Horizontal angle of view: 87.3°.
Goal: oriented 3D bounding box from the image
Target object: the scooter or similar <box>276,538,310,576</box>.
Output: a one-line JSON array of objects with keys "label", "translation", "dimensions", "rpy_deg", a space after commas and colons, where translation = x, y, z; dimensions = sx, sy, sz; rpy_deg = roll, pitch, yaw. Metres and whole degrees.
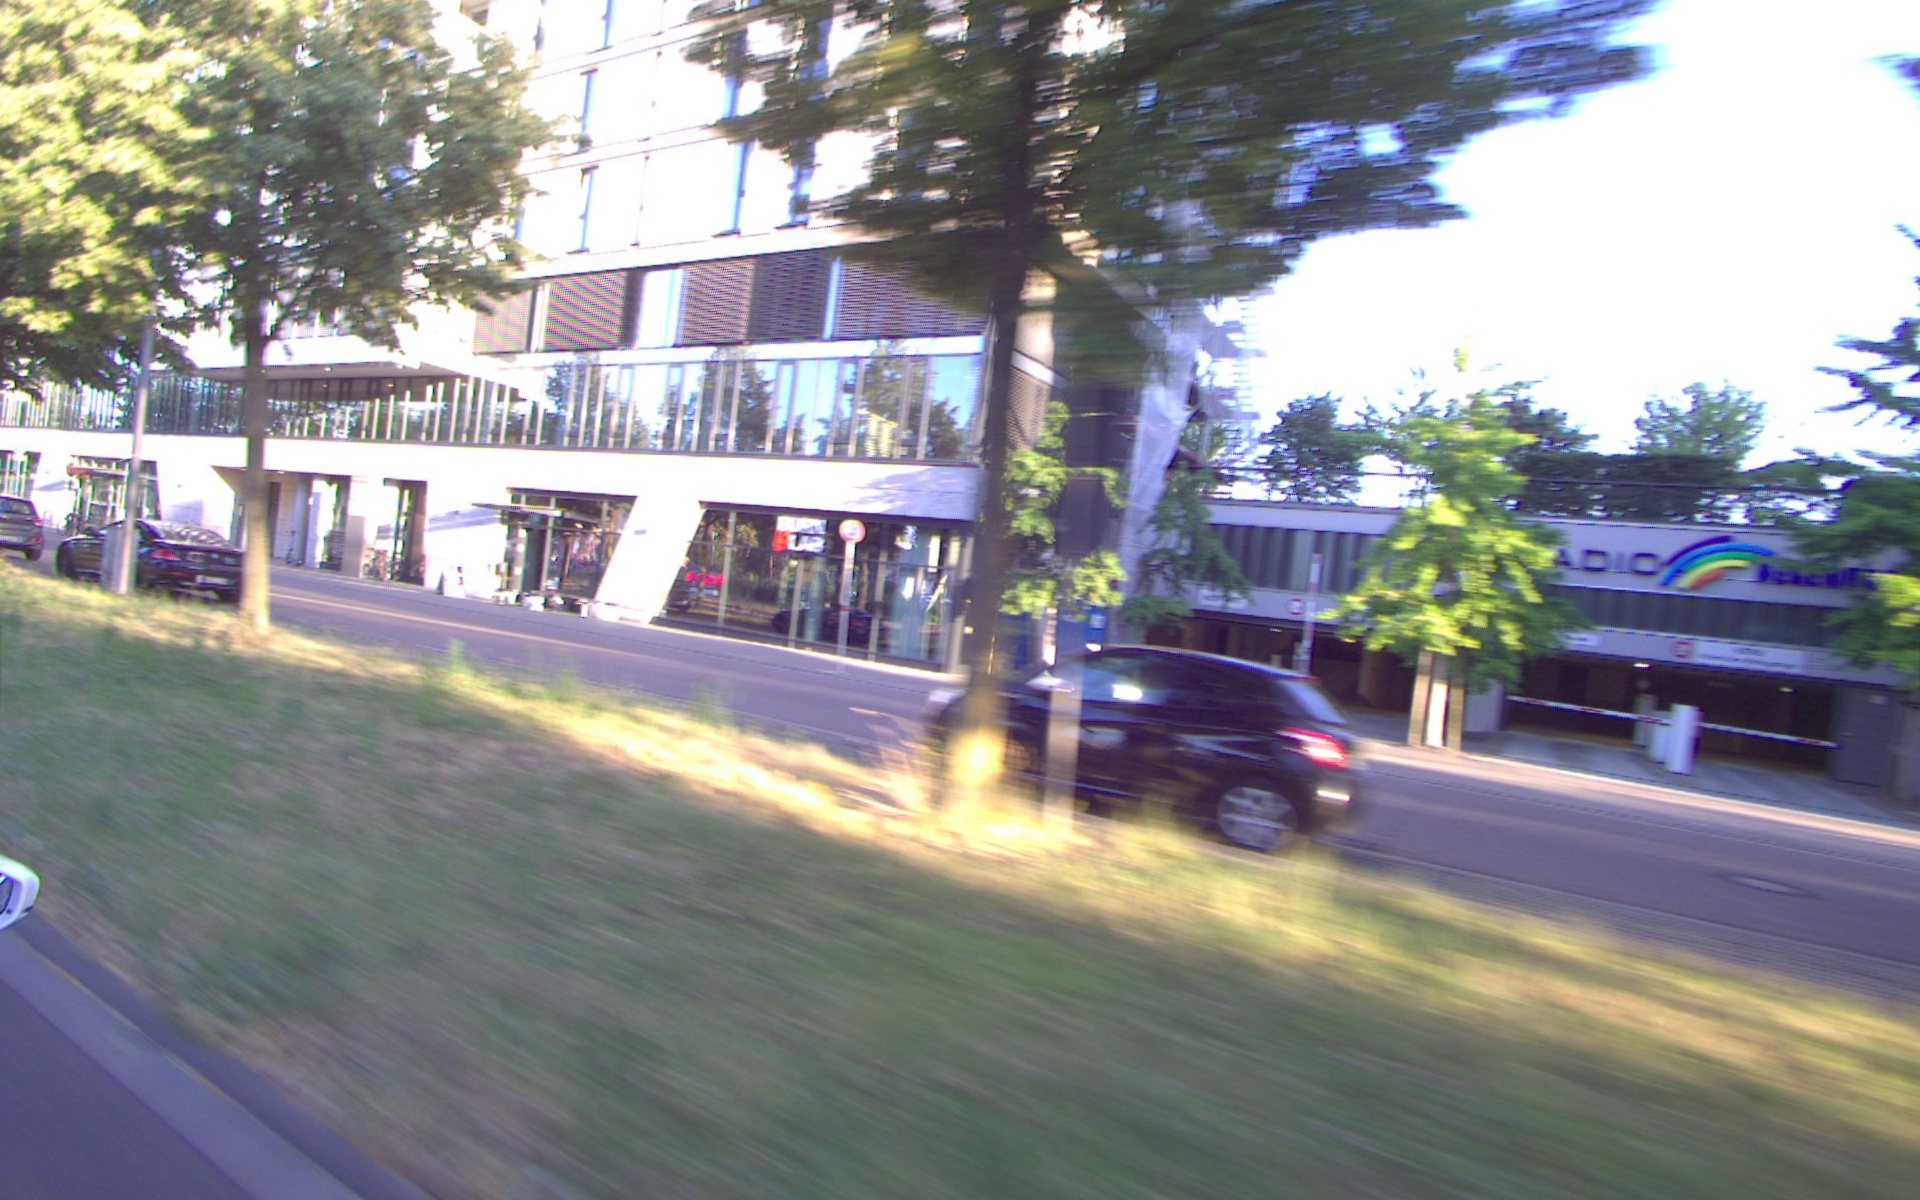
[{"label": "scooter or similar", "translation": [-23.990, -1.552, 36.192], "dimensions": [1.208, 1.226, 0.473], "rpy_deg": [6, 0, 33]}]

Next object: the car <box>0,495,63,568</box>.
[{"label": "car", "translation": [-23.574, -1.797, 24.266], "dimensions": [3.696, 1.532, 1.714], "rpy_deg": [6, -3, 30]}]

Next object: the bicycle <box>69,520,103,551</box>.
[{"label": "bicycle", "translation": [-34.647, -2.568, 39.875], "dimensions": [1.777, 1.052, 0.471], "rpy_deg": [6, 0, 32]}]

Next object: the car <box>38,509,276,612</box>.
[{"label": "car", "translation": [-15.424, -0.771, 19.269], "dimensions": [4.752, 1.384, 1.856], "rpy_deg": [7, 0, 30]}]

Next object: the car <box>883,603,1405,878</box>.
[{"label": "car", "translation": [1.535, 1.084, 8.721], "dimensions": [3.933, 1.510, 1.785], "rpy_deg": [7, -3, 32]}]

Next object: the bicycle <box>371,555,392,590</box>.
[{"label": "bicycle", "translation": [-19.027, -0.912, 33.091], "dimensions": [0.450, 1.040, 1.382], "rpy_deg": [6, 0, -32]}]

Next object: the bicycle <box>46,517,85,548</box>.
[{"label": "bicycle", "translation": [-35.162, -2.653, 39.530], "dimensions": [1.861, 1.052, 0.595], "rpy_deg": [6, 0, 32]}]
